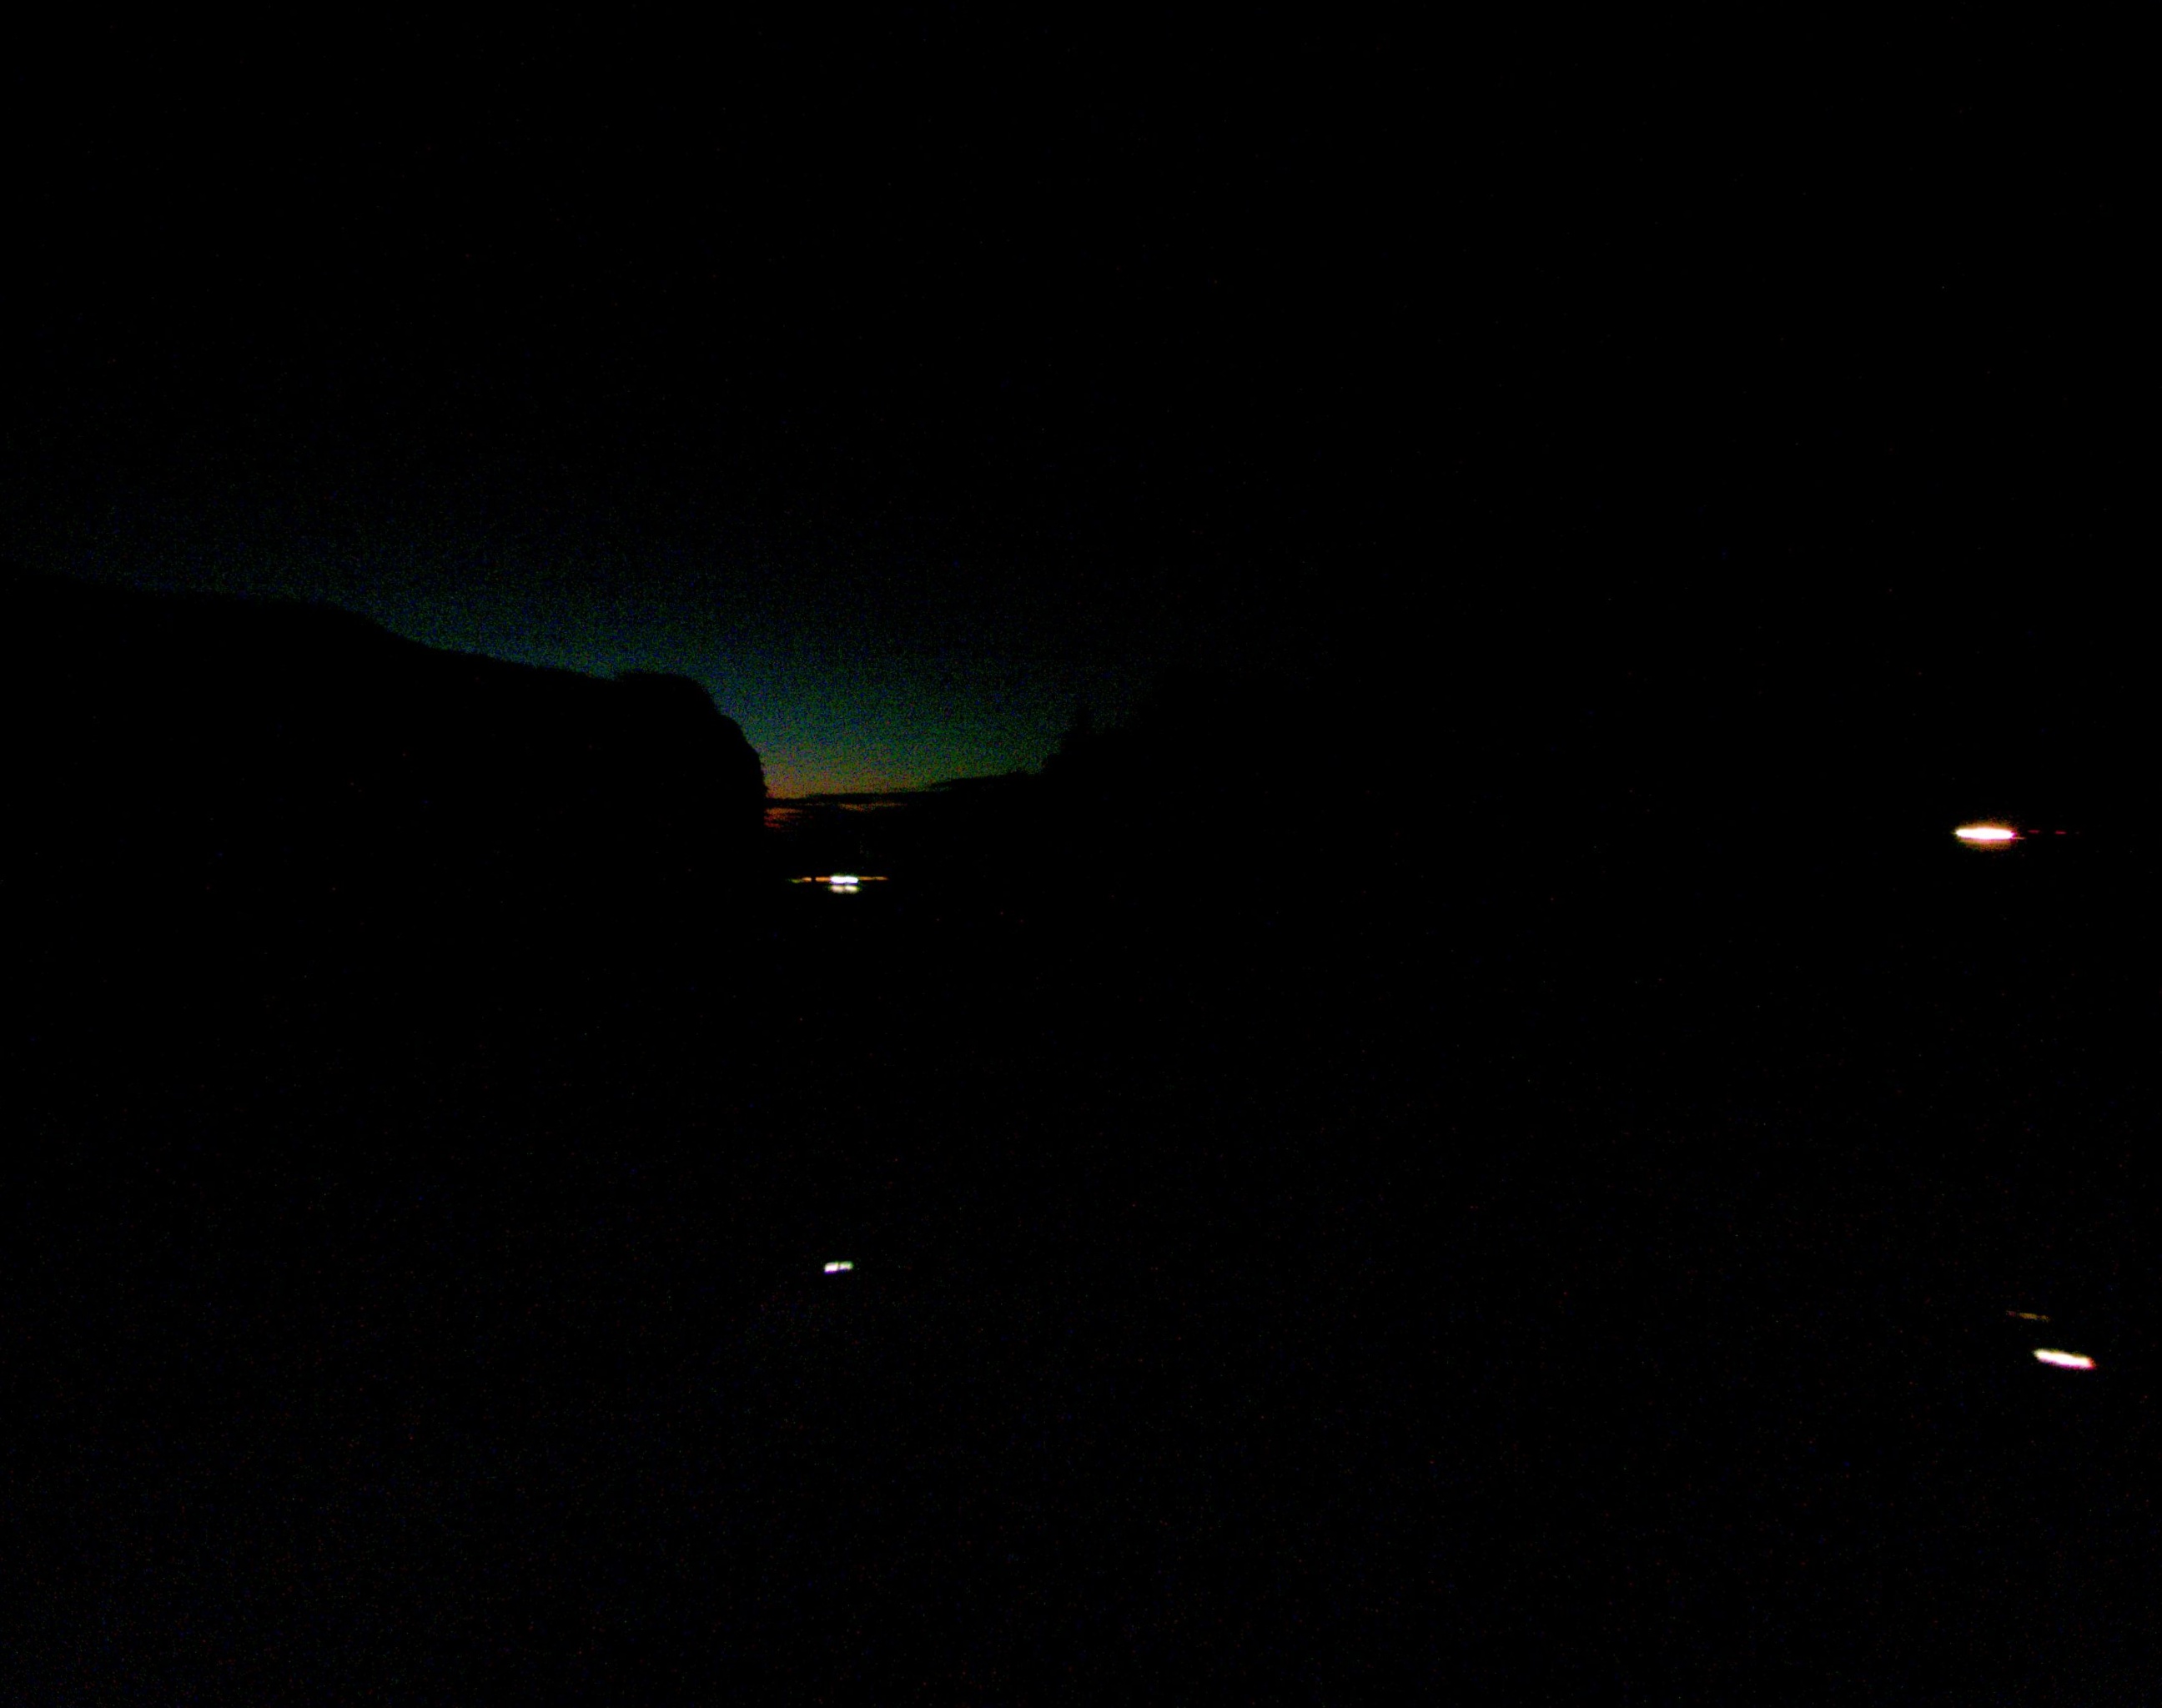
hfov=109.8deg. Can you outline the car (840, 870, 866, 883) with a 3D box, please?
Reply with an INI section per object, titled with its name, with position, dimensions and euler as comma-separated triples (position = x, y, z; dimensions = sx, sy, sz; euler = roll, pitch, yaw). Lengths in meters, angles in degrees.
[car]
position = -25.284, 2.485, 84.445
dimensions = 1.763, 1.450, 4.192
euler = 0, -1, -3
